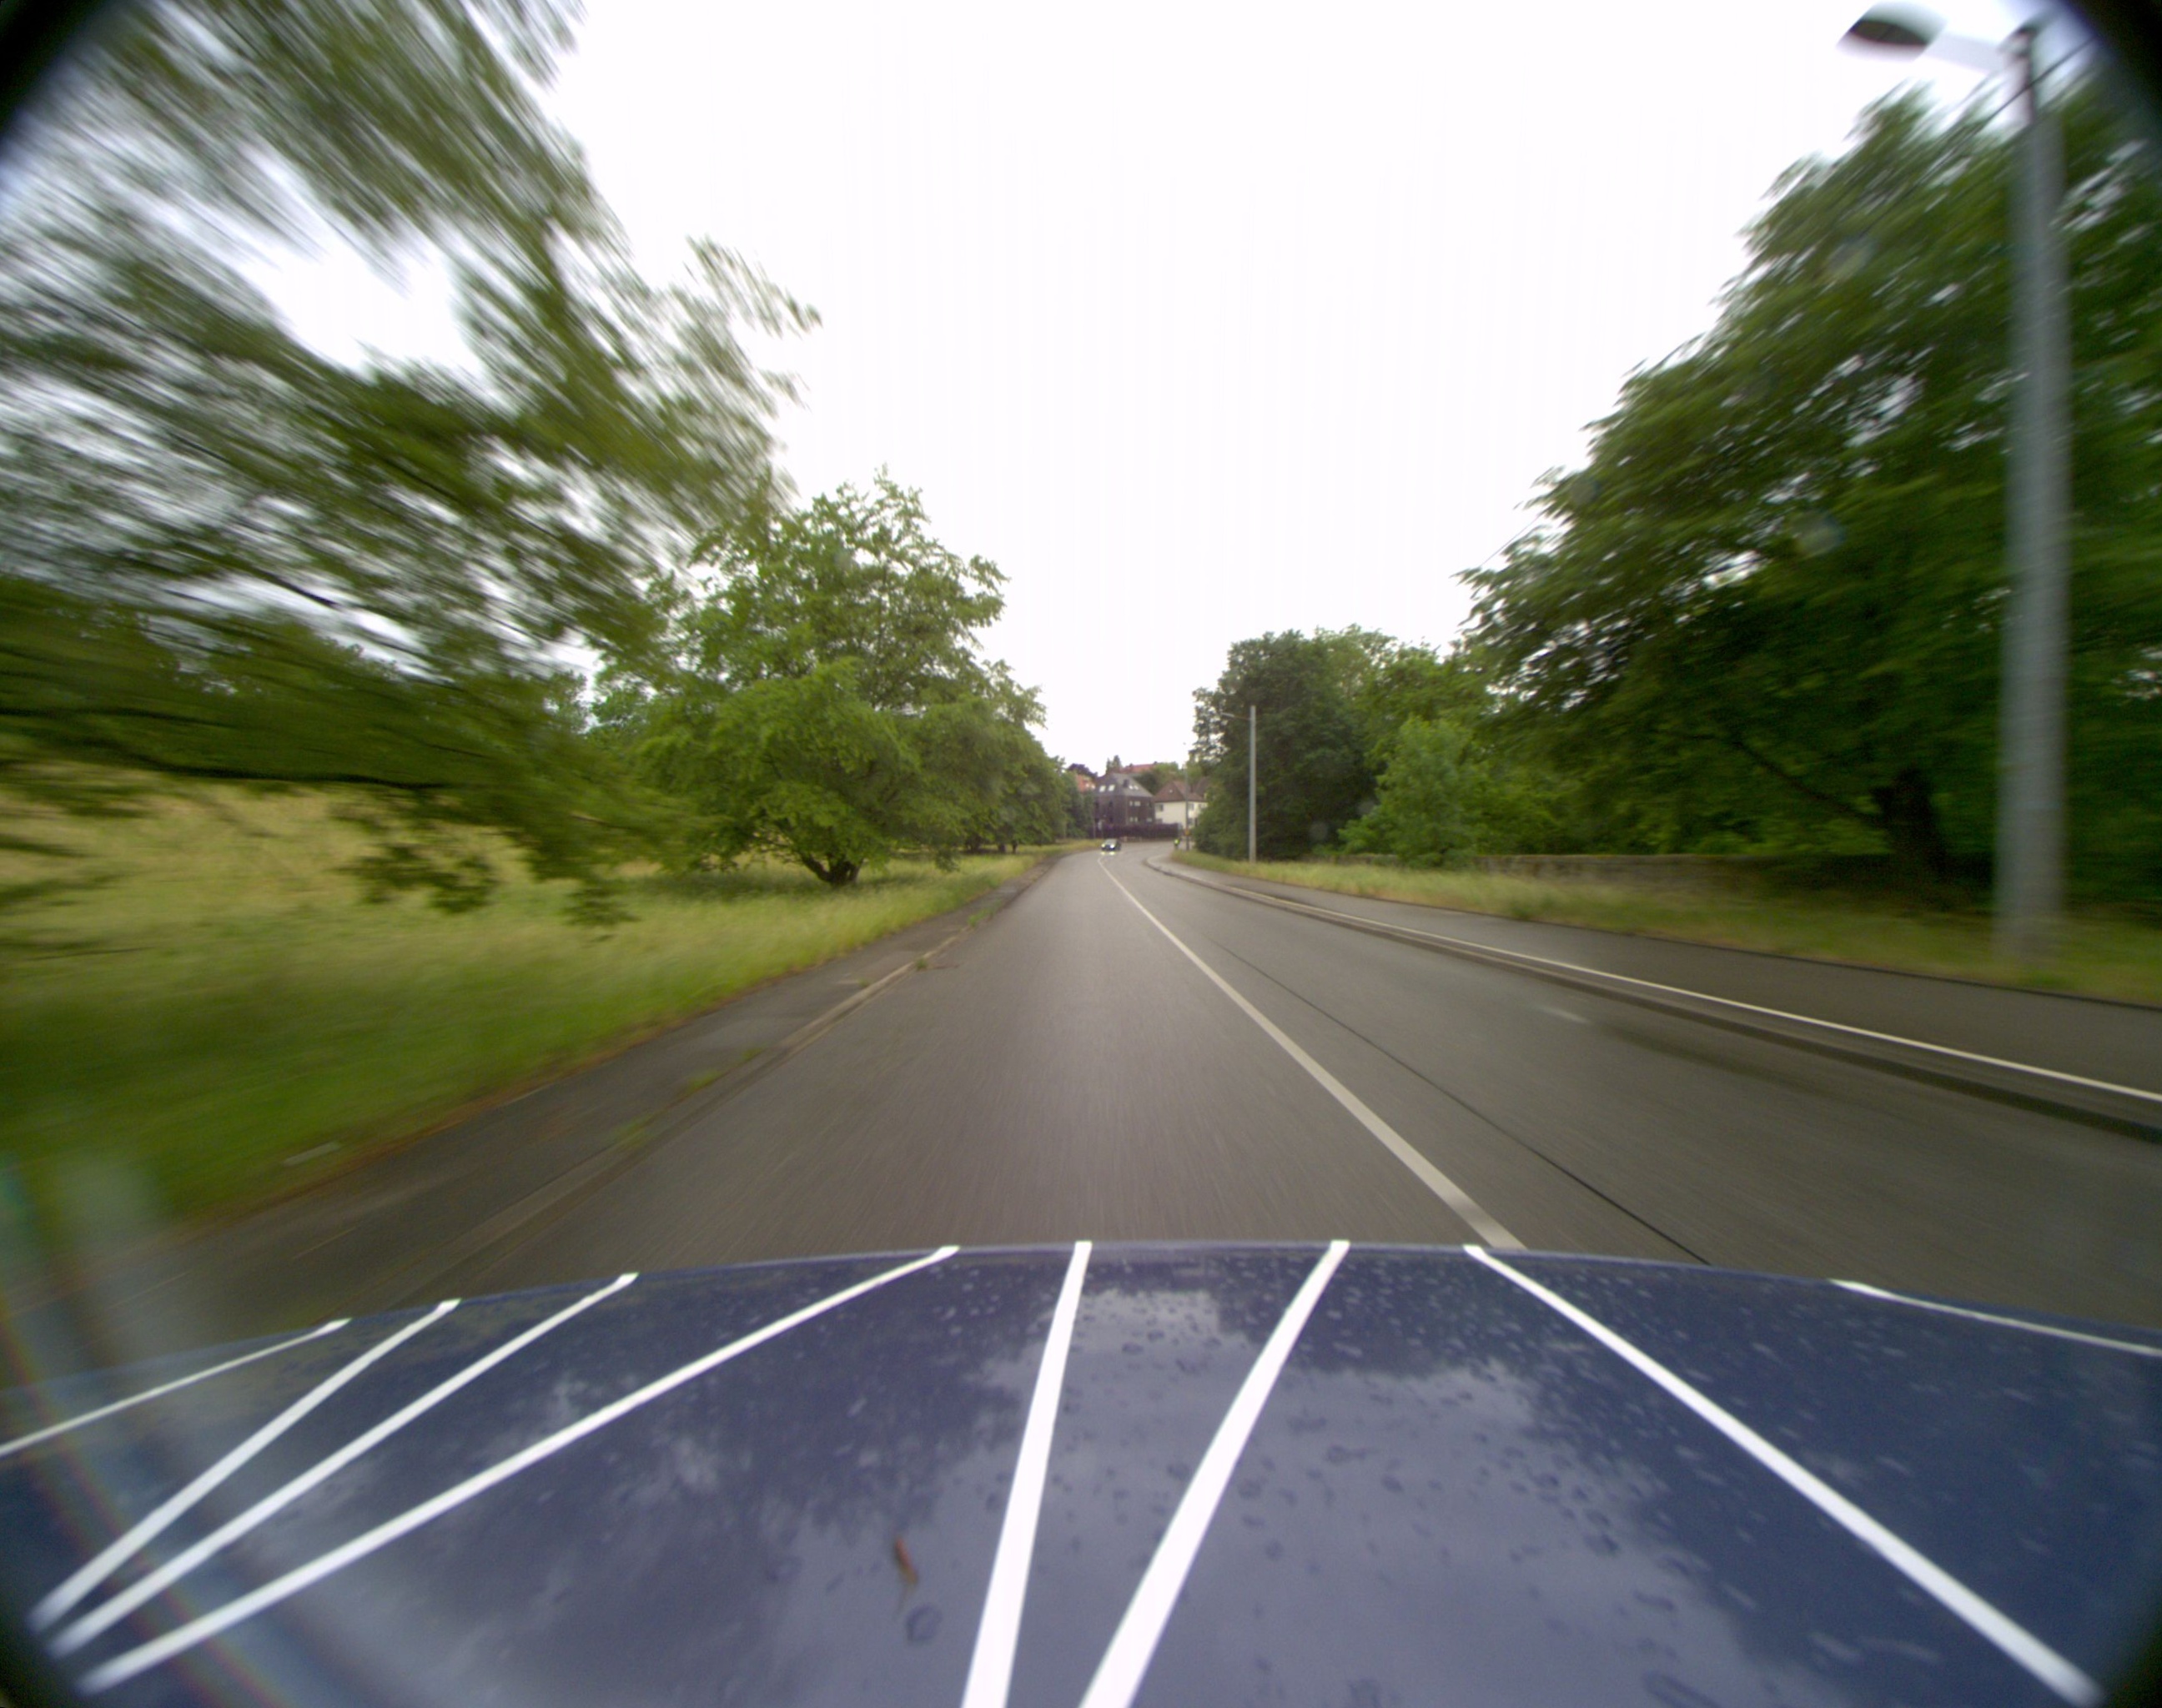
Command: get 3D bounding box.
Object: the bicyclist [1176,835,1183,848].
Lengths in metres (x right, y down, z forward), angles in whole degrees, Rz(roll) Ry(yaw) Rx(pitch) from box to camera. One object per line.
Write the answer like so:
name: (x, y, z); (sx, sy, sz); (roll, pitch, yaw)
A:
bicyclist: (11.746, -1.497, 90.913); (0.709, 1.547, 1.171); (-2, 2, 11)

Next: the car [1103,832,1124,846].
car: (4.239, -1.970, 98.239); (1.996, 1.707, 4.002); (-1, 2, 13)

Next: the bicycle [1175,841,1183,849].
bicycle: (11.795, -1.093, 91.078); (0.725, 0.936, 2.552); (-2, 1, 11)
